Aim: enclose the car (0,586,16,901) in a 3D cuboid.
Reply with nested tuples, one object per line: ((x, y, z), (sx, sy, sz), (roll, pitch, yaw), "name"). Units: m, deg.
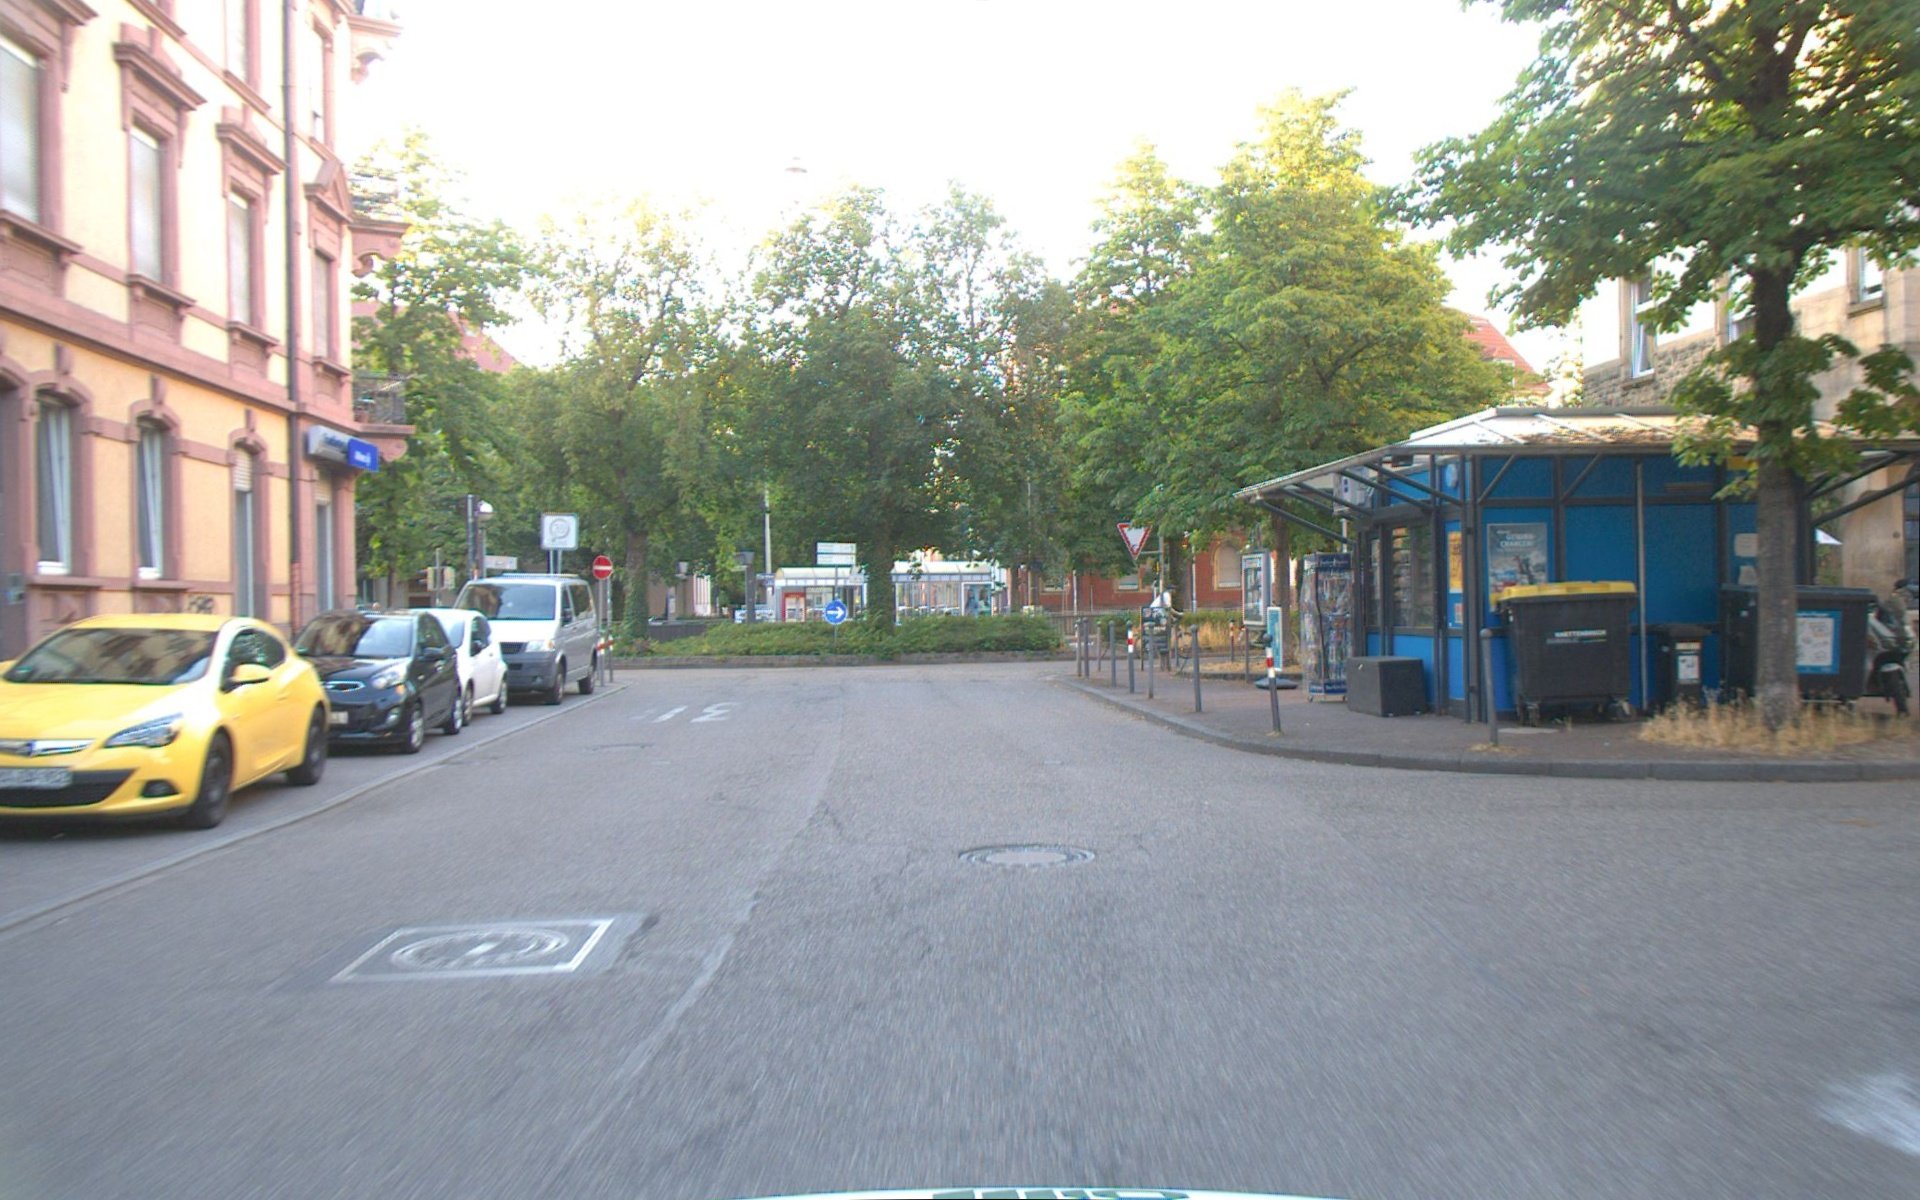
((-5.732, 0.726, 6.506), (1.764, 1.620, 4.143), (1, 0, -2), "car")

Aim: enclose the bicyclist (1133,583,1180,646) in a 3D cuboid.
((4.827, 0.350, 40.599), (0.902, 1.529, 0.705), (-1, 0, -19), "bicyclist")

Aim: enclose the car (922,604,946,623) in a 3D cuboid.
((-2.421, 1.293, 155.017), (1.955, 1.733, 4.715), (0, -1, -5), "car")

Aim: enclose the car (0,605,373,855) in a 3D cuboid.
((-6.137, 0.845, 12.938), (1.803, 1.552, 4.795), (1, 0, -6), "car")

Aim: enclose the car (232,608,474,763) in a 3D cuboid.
((-6.532, 0.856, 18.200), (1.696, 1.517, 3.736), (1, 0, -8), "car")

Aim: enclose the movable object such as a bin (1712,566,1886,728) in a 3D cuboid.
((8.244, 0.449, 16.301), (1.254, 1.501, 0.820), (2, 0, 5), "movable object such as a bin")

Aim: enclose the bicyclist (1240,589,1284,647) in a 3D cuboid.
((7.291, 0.427, 39.950), (0.728, 1.382, 0.702), (-1, 0, -30), "bicyclist")

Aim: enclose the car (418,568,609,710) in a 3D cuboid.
((-7.138, 0.588, 26.979), (2.000, 2.093, 5.001), (0, 0, -3), "car")

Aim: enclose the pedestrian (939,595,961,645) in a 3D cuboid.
((-0.306, 0.597, 49.698), (0.604, 1.456, 0.655), (-1, 0, -3), "pedestrian")

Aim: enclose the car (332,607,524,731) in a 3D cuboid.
((-7.068, 0.868, 22.310), (1.651, 1.517, 3.610), (0, 0, -5), "car")

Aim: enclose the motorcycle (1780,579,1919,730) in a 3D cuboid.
((9.547, 0.535, 17.376), (0.850, 1.479, 1.881), (-1, 0, -3), "motorcycle")

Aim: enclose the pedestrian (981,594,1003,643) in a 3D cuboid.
((0.964, 0.541, 49.913), (0.604, 1.456, 0.655), (-1, 0, -3), "pedestrian")

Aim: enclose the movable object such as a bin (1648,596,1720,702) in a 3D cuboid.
((7.133, 0.473, 16.303), (0.470, 1.019, 0.487), (-1, 0, -3), "movable object such as a bin")

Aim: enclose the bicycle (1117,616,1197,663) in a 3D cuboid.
((4.830, 0.970, 40.593), (1.801, 1.089, 0.705), (-1, 0, -20), "bicycle")

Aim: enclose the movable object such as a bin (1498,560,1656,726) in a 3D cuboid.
((6.011, 0.410, 16.173), (1.196, 1.501, 0.766), (-4, 0, 5), "movable object such as a bin")

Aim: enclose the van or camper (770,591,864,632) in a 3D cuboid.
((-11.175, 0.913, 129.115), (7.227, 3.137, 2.668), (0, -1, -8), "van or camper")

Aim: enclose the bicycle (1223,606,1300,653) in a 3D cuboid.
((7.287, 0.702, 39.938), (1.809, 1.089, 0.702), (-1, 0, -30), "bicycle")

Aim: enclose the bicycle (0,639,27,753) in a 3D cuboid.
((-9.575, 0.944, 15.592), (0.649, 1.089, 1.832), (-1, 0, -6), "bicycle")
